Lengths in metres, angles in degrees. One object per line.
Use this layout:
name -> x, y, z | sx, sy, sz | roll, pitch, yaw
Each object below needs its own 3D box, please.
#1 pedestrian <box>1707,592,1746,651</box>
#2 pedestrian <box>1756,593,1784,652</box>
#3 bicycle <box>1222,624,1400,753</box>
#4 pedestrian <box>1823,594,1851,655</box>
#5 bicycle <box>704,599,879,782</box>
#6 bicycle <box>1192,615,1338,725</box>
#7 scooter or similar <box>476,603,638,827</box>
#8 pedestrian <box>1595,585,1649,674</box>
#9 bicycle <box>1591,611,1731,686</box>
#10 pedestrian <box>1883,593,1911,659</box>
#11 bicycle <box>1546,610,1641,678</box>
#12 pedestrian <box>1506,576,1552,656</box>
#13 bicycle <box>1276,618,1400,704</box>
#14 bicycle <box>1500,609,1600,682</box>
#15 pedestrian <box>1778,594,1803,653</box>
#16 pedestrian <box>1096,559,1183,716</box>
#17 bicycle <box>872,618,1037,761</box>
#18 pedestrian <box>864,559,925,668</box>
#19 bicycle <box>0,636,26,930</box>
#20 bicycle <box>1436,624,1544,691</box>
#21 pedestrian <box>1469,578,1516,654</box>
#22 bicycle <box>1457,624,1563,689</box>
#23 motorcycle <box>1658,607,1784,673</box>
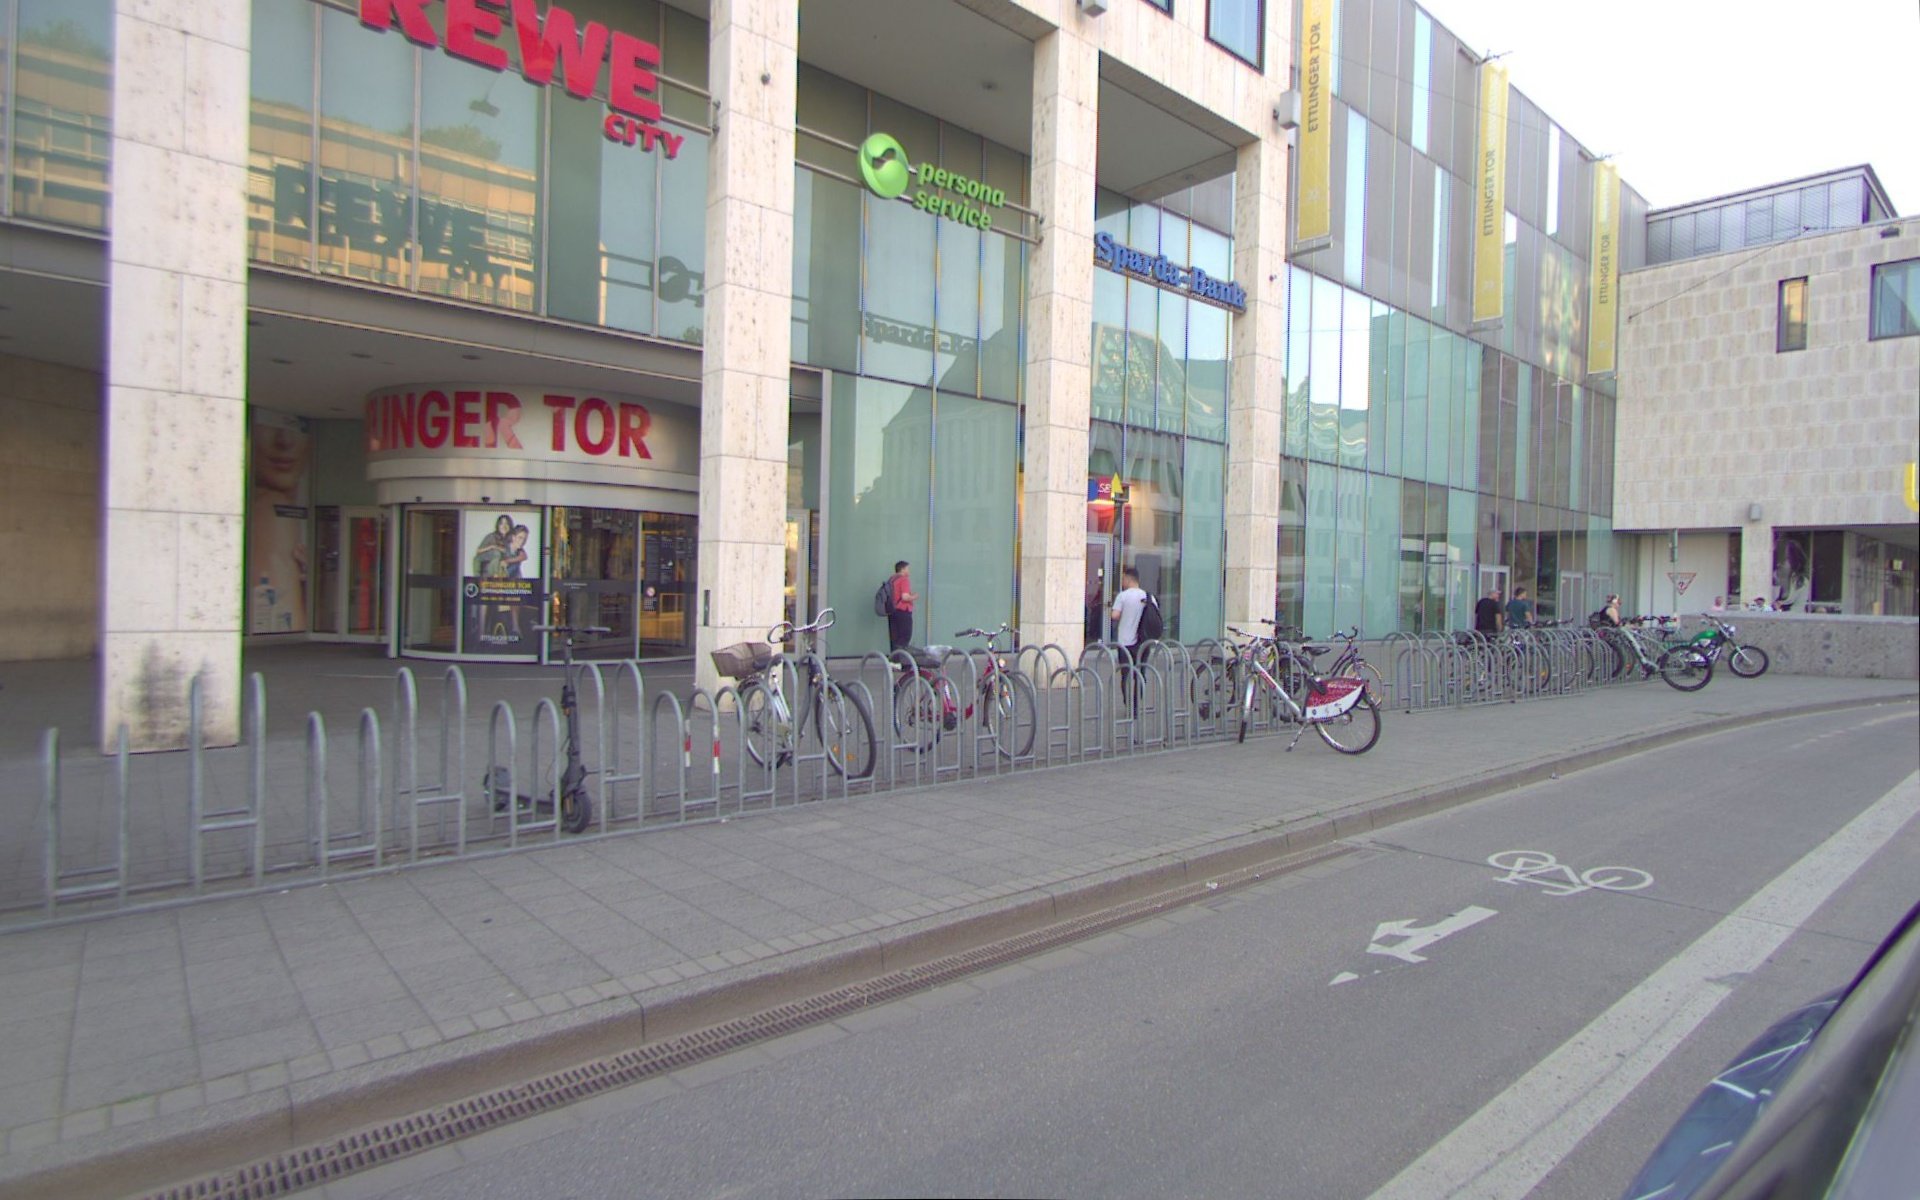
pedestrian -> 23.858, 0.655, 31.496 | 0.644, 1.765, 0.794 | 1, 1, -38
pedestrian -> 24.564, 0.667, 30.705 | 0.644, 1.765, 0.494 | 1, 1, -38
bicycle -> 3.169, 0.759, 9.248 | 0.458, 1.077, 1.518 | 1, -2, -39
pedestrian -> 25.734, 0.704, 29.692 | 0.483, 1.765, 0.504 | 1, 1, -38
bicycle -> -1.308, 0.625, 7.667 | 0.607, 1.243, 1.517 | 1, -2, -41
bicycle -> 3.377, 0.741, 11.311 | 0.569, 1.138, 1.519 | 1, -1, -36
scooter or similar -> -2.520, 0.651, 6.276 | 0.484, 1.214, 1.194 | 1, 1, -44
pedestrian -> 12.775, 0.548, 19.561 | 0.802, 1.663, 0.640 | 2, 1, 31
bicycle -> 11.564, 0.774, 16.745 | 0.458, 1.161, 1.837 | 1, -2, -39
pedestrian -> 25.679, 0.699, 27.746 | 0.483, 1.765, 0.455 | 1, 1, -38
bicycle -> 11.392, 0.770, 18.220 | 0.509, 1.179, 1.344 | 1, -2, -41
pedestrian -> 12.484, 0.340, 22.193 | 0.696, 1.717, 0.808 | 2, 1, 41
bicycle -> 5.011, 0.780, 13.451 | 1.439, 1.078, 0.572 | -1, -2, 39
bicycle -> 9.829, 0.737, 16.896 | 0.509, 1.179, 1.344 | 1, -2, -41
pedestrian -> 25.488, 0.710, 31.051 | 0.483, 1.765, 0.455 | 1, 1, -38
pedestrian -> 2.039, 0.403, 11.538 | 0.618, 1.713, 0.707 | 1, 1, -40
bicycle -> -0.077, 0.713, 8.670 | 0.543, 1.120, 1.516 | 1, -2, -43
pedestrian -> -1.029, 0.199, 15.924 | 0.695, 1.672, 0.629 | 1, 1, -40
bicycle -> -4.556, 0.731, 4.478 | 1.768, 1.092, 0.475 | 3, 1, 43
bicycle -> 7.943, 0.842, 15.207 | 0.509, 0.944, 1.344 | 1, -2, -41
pedestrian -> 12.087, 0.350, 22.952 | 0.738, 1.668, 0.808 | 2, 1, 41
bicycle -> 8.454, 0.854, 15.586 | 0.509, 0.944, 1.344 | 1, -2, -41
motorcycle -> 15.577, 0.790, 20.767 | 0.472, 1.239, 2.004 | 1, 1, -43
